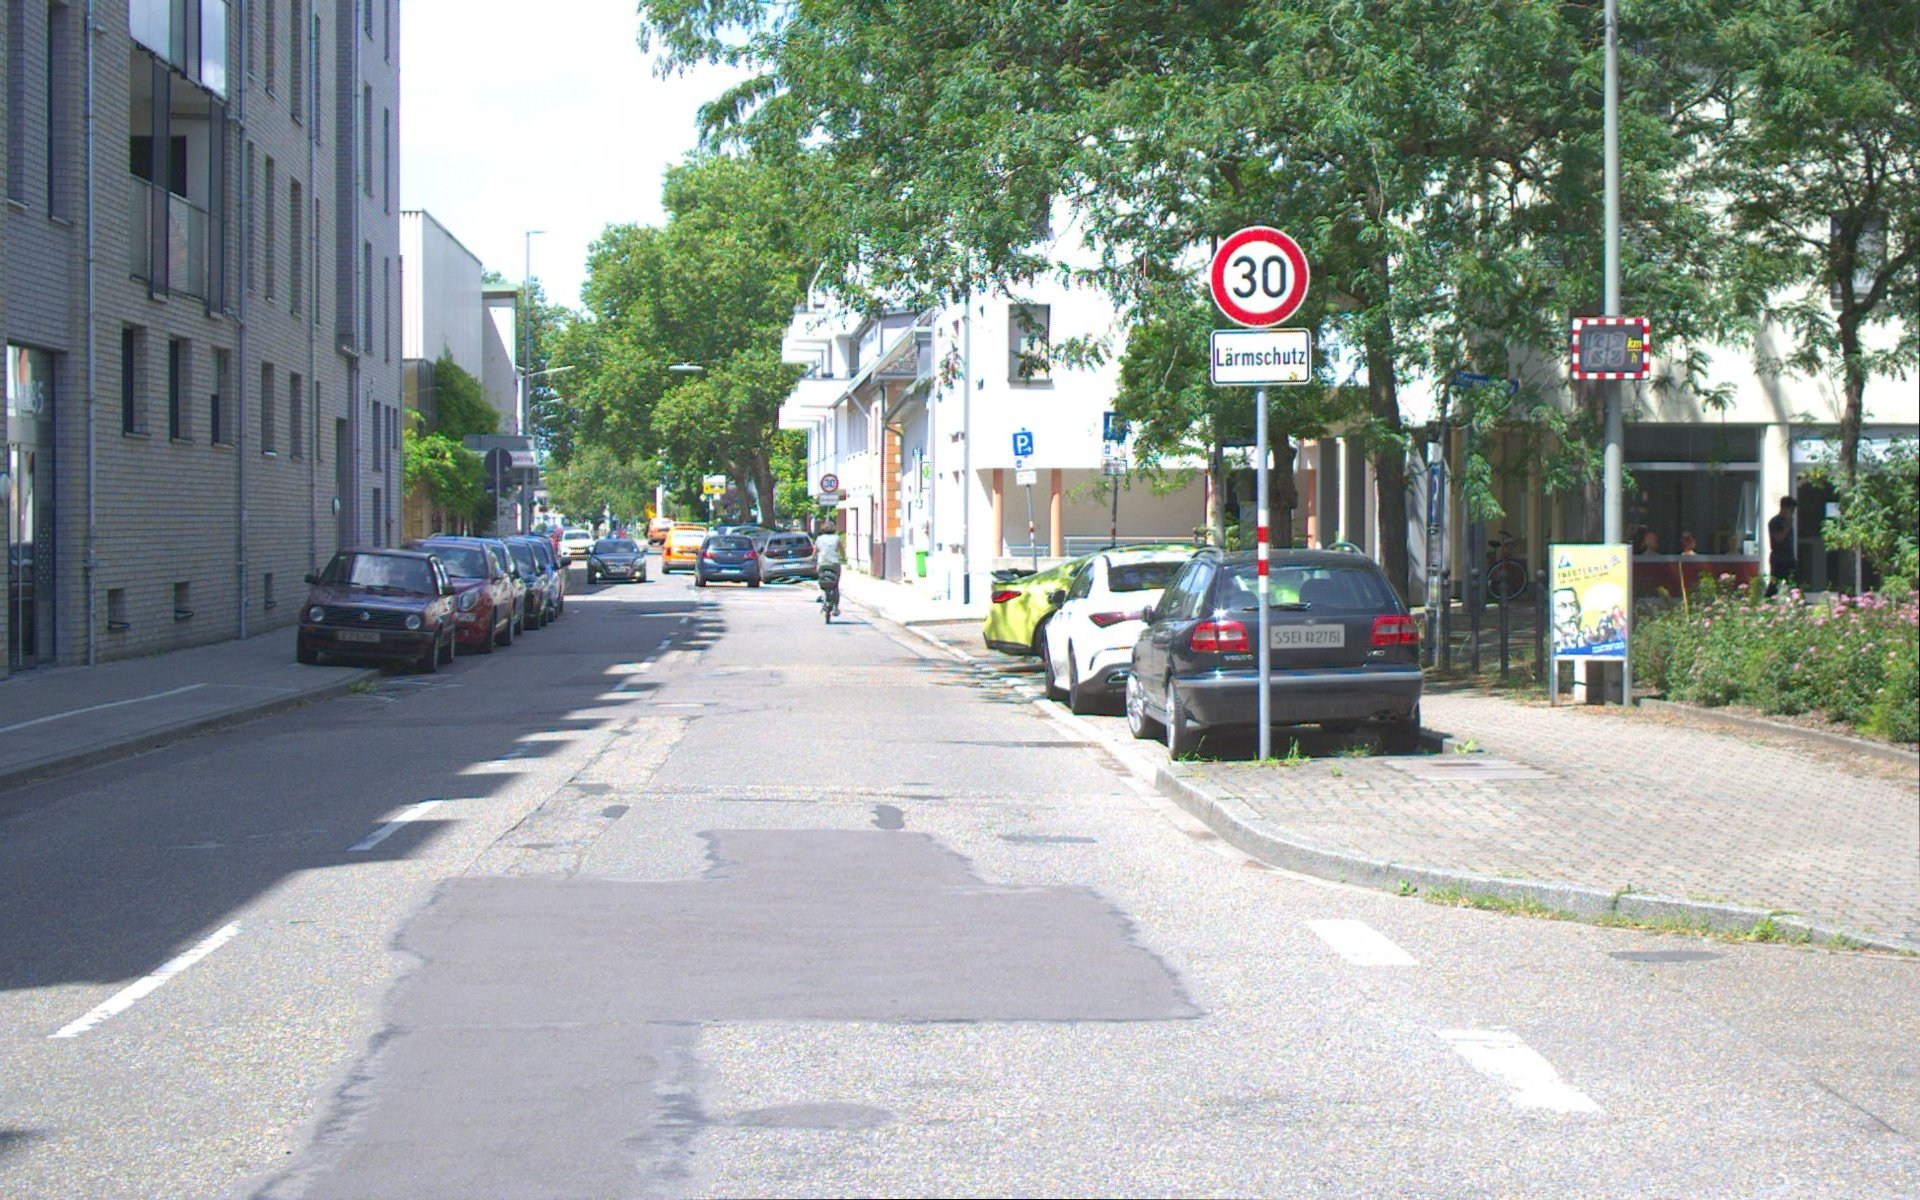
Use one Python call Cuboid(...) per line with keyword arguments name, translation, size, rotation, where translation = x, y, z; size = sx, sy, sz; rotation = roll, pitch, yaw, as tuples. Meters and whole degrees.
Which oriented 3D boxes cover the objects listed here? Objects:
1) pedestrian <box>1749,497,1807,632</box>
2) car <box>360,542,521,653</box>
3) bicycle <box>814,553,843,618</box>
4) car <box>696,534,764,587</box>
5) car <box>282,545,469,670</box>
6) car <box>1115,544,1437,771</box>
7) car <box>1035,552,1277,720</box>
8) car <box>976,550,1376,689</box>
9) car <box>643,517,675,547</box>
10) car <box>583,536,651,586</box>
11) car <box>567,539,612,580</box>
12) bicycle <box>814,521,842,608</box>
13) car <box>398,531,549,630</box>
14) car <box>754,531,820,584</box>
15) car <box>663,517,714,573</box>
Cuboid(name="pedestrian", translation=(11.380, -0.498, 47.829), size=(0.596, 1.853, 0.602), rotation=(1, 1, 35))
Cuboid(name="car", translation=(-6.998, -0.069, 46.651), size=(1.732, 1.437, 4.001), rotation=(0, 1, -2))
Cuboid(name="bicycle", translation=(-2.275, -0.257, 59.495), size=(0.483, 1.111, 1.196), rotation=(0, 1, -3))
Cuboid(name="car", translation=(-6.357, -1.105, 95.426), size=(1.715, 1.397, 4.001), rotation=(0, 2, -1))
Cuboid(name="car", translation=(-7.019, 0.056, 41.606), size=(1.732, 1.437, 4.001), rotation=(0, 1, -2))
Cuboid(name="car", translation=(2.166, 0.345, 24.563), size=(1.692, 1.415, 4.001), rotation=(-2, 1, -3))
Cuboid(name="car", translation=(1.710, 0.276, 31.239), size=(1.778, 1.415, 4.001), rotation=(0, 1, -3))
Cuboid(name="car", translation=(2.524, 0.197, 39.594), size=(4.380, 1.376, 1.999), rotation=(2, 1, 9))
Cuboid(name="car", translation=(-20.674, -4.680, 236.273), size=(2.156, 2.007, 4.001), rotation=(0, 1, -6))
Cuboid(name="car", translation=(-10.767, -1.233, 108.194), size=(1.993, 1.514, 4.001), rotation=(0, 1, -4))
Cuboid(name="car", translation=(-18.334, -2.006, 170.295), size=(1.993, 2.007, 4.001), rotation=(0, 1, -3))
Cuboid(name="bicycle", translation=(-2.282, -0.615, 59.506), size=(0.477, 1.485, 0.576), rotation=(0, 1, -3))
Cuboid(name="car", translation=(-7.576, -0.335, 53.847), size=(1.826, 1.415, 4.000), rotation=(2, 1, -1))
Cuboid(name="car", translation=(-5.400, -1.331, 107.064), size=(1.993, 1.612, 4.001), rotation=(1, 1, -3))
Cuboid(name="car", translation=(-9.963, -2.040, 126.378), size=(1.838, 2.007, 4.001), rotation=(0, 2, -4))
